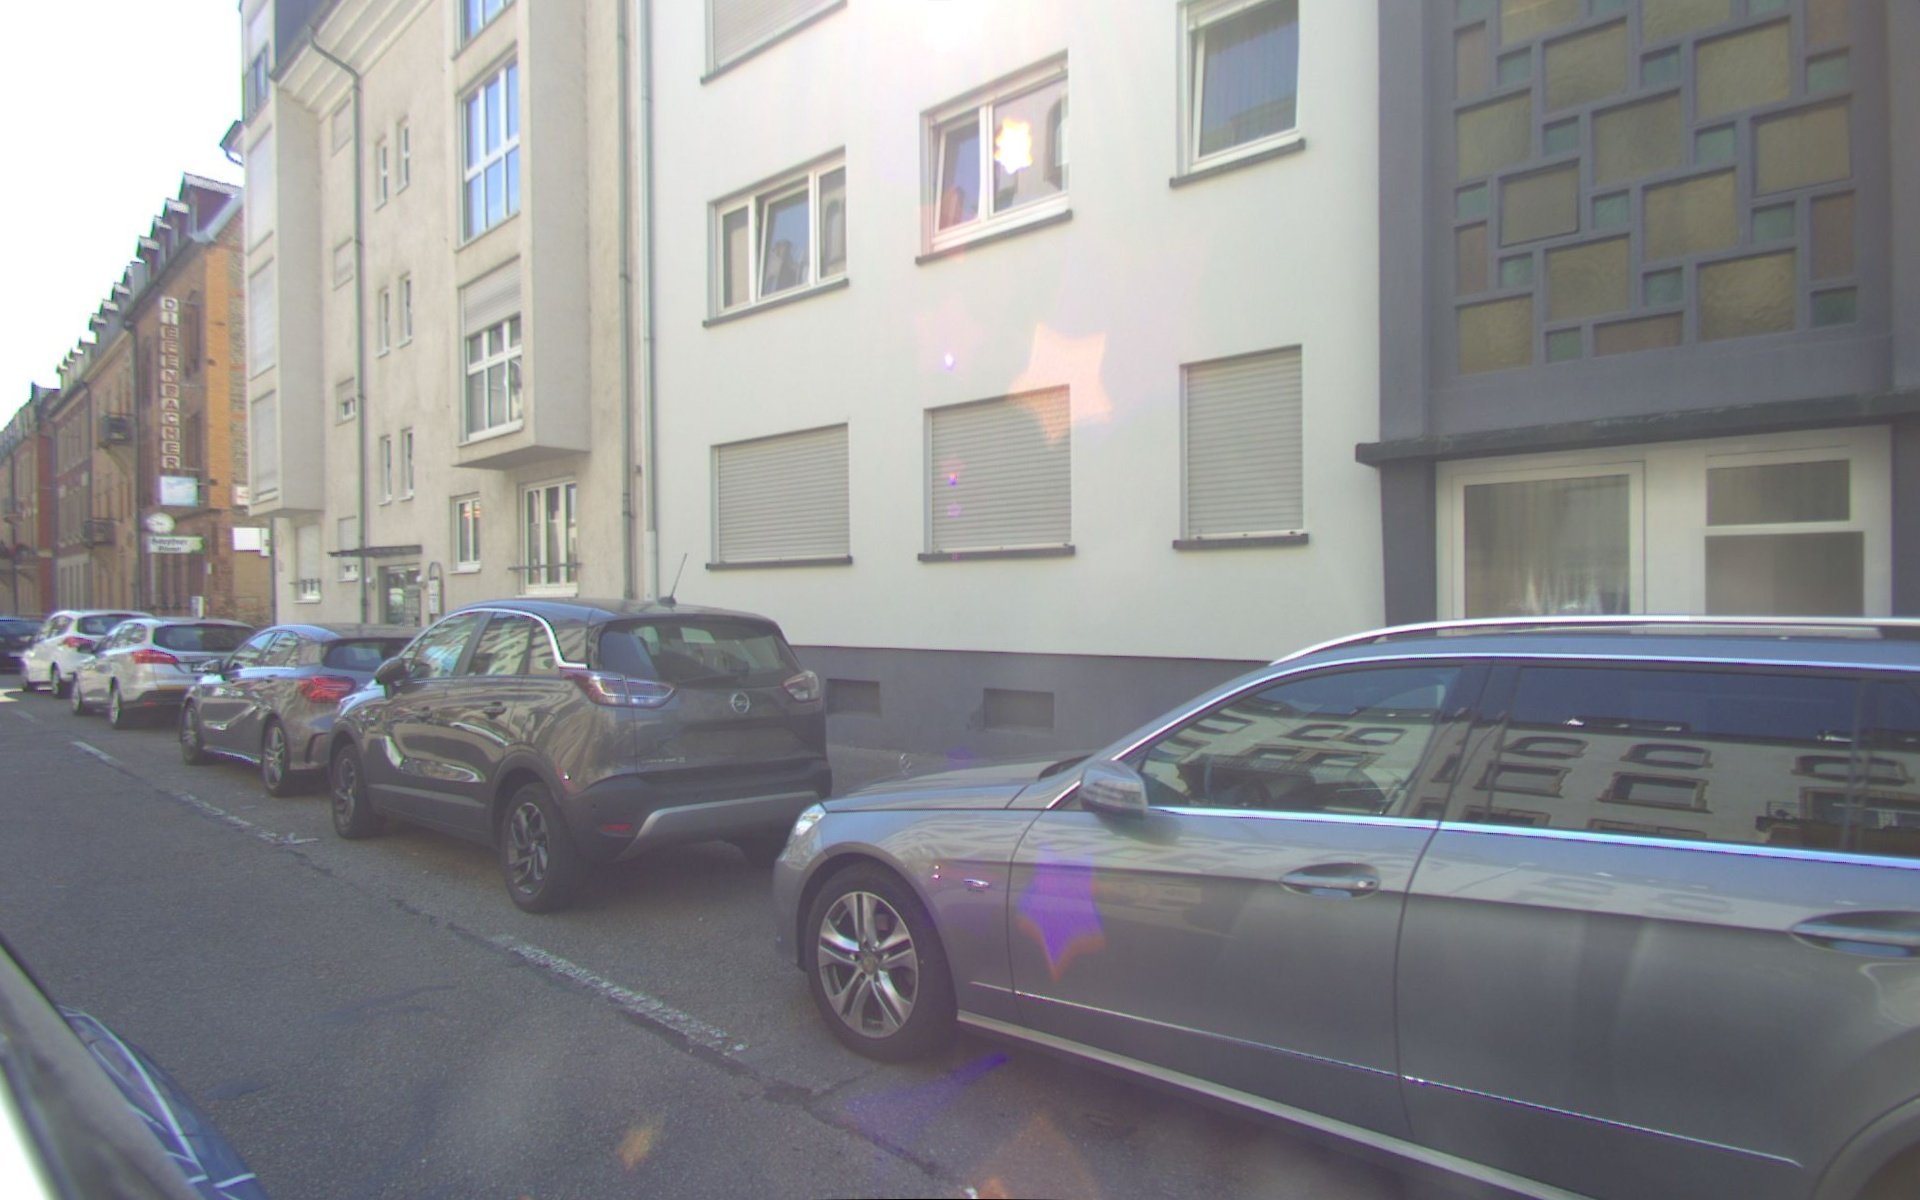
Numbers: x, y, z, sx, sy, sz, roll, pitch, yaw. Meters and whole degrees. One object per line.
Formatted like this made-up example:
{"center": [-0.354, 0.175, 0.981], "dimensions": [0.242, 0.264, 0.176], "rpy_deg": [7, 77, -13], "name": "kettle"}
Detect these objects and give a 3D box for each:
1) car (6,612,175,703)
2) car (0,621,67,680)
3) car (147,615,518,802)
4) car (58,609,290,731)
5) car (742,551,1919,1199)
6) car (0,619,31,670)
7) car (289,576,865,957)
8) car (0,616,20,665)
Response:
{"center": [-16.646, 1.058, 19.335], "dimensions": [3.847, 1.561, 1.613], "rpy_deg": [0, -4, 37], "name": "car"}
{"center": [-24.847, 1.272, 26.467], "dimensions": [3.836, 1.440, 1.758], "rpy_deg": [-1, -4, 42], "name": "car"}
{"center": [-6.189, 0.872, 9.775], "dimensions": [4.345, 1.404, 1.747], "rpy_deg": [0, -2, 40], "name": "car"}
{"center": [-11.444, 0.915, 14.625], "dimensions": [4.345, 1.506, 1.713], "rpy_deg": [0, -3, 40], "name": "car"}
{"center": [1.515, 0.710, 2.867], "dimensions": [4.667, 1.530, 1.639], "rpy_deg": [0, -2, 40], "name": "car"}
{"center": [-28.731, 1.257, 29.821], "dimensions": [3.677, 1.440, 1.611], "rpy_deg": [-1, -4, 42], "name": "car"}
{"center": [-2.568, 0.754, 6.303], "dimensions": [3.974, 1.656, 1.587], "rpy_deg": [0, -2, 40], "name": "car"}
{"center": [-32.238, 1.277, 33.210], "dimensions": [3.521, 1.555, 1.432], "rpy_deg": [0, -4, 38], "name": "car"}
